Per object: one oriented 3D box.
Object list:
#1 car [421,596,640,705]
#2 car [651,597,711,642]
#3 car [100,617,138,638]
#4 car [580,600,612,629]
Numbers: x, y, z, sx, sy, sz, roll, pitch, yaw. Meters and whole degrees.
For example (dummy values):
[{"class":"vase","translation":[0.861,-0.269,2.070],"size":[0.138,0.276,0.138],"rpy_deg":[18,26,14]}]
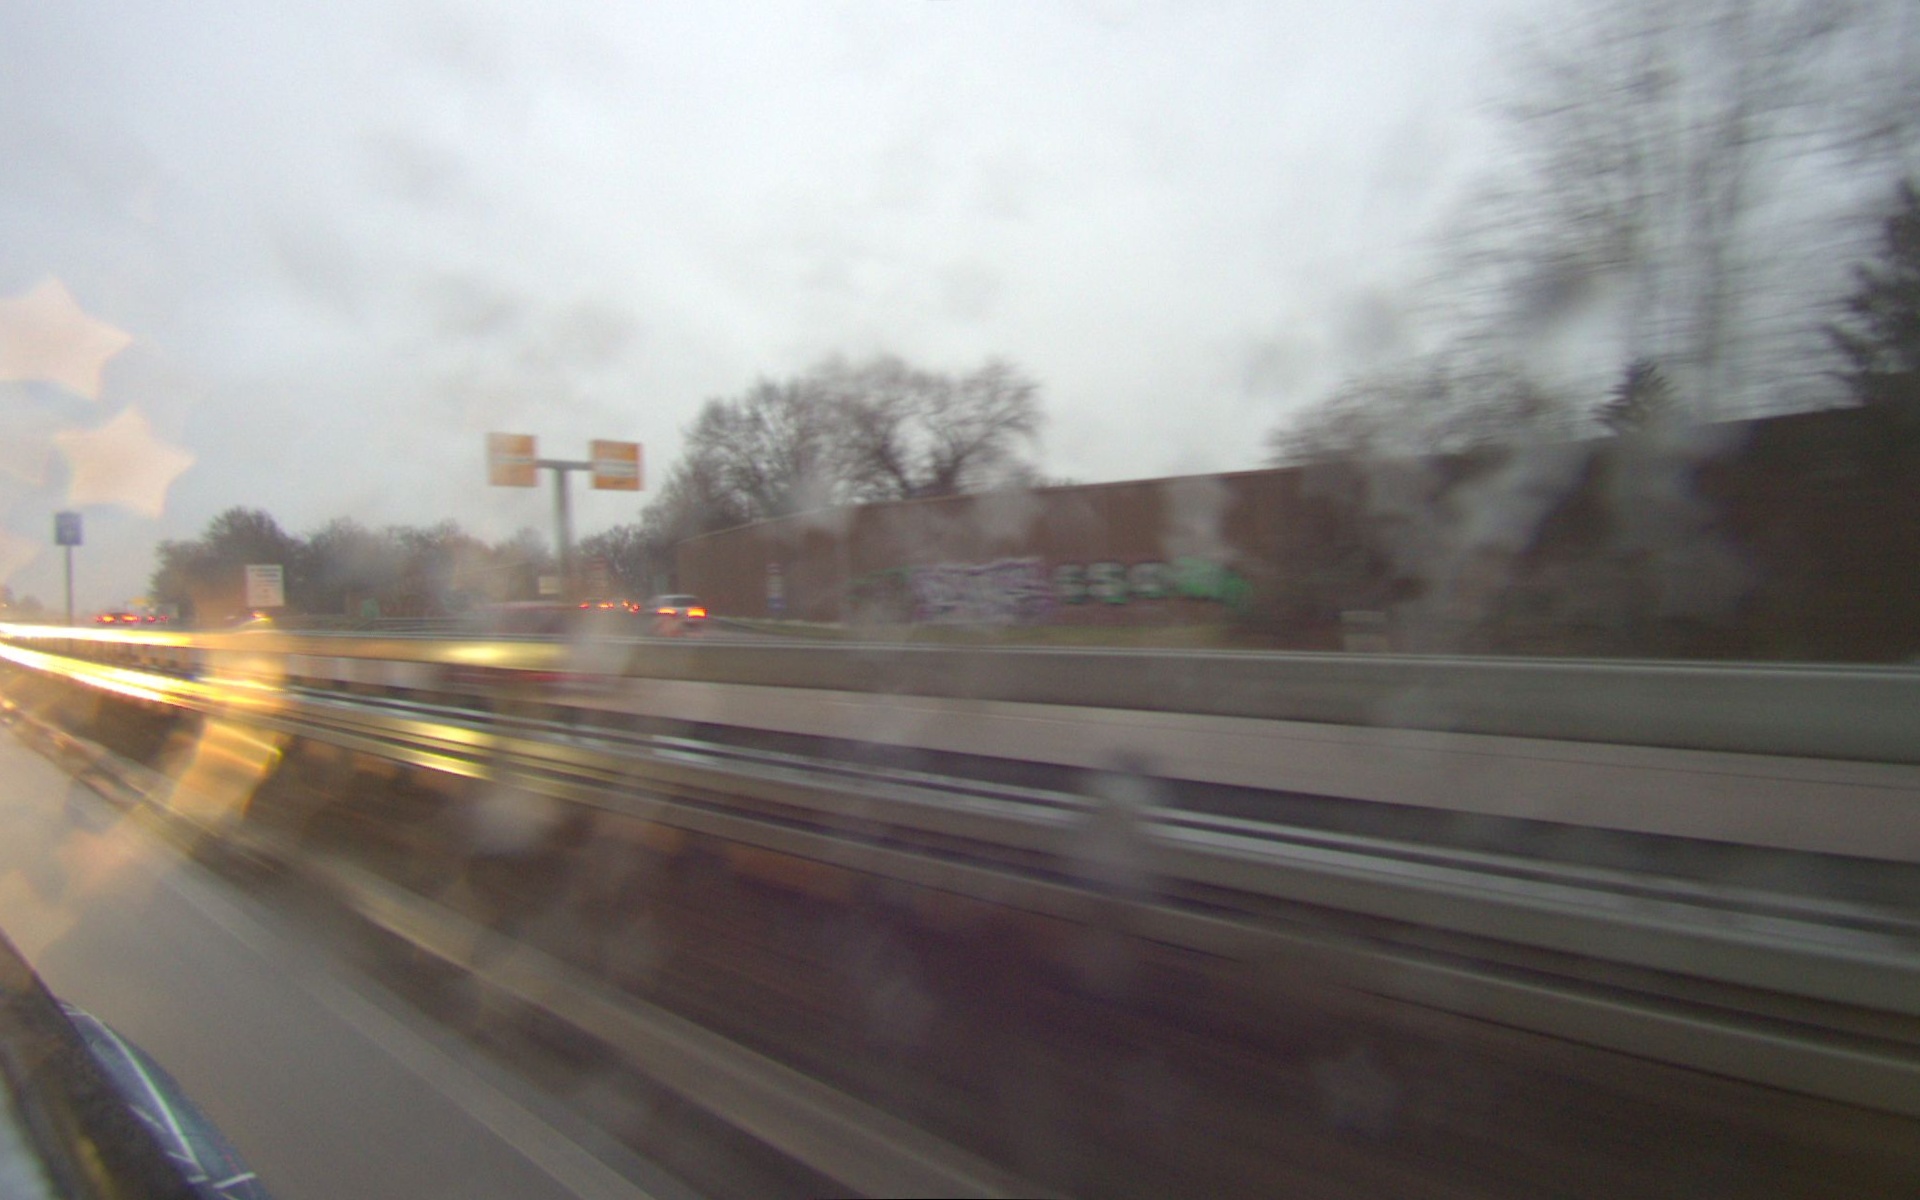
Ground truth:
[{"class":"car","translation":[-6.953,0.741,16.224],"size":[3.841,1.506,1.719],"rpy_deg":[-1,1,41]},{"class":"car","translation":[-12.956,0.876,46.835],"size":[1.965,1.928,4.460],"rpy_deg":[-2,1,-24]},{"class":"car","translation":[-67.587,2.192,81.303],"size":[4.356,1.567,1.817],"rpy_deg":[-1,1,44]},{"class":"car","translation":[-26.593,1.026,73.869],"size":[1.965,1.928,4.460],"rpy_deg":[-2,0,-23]}]
